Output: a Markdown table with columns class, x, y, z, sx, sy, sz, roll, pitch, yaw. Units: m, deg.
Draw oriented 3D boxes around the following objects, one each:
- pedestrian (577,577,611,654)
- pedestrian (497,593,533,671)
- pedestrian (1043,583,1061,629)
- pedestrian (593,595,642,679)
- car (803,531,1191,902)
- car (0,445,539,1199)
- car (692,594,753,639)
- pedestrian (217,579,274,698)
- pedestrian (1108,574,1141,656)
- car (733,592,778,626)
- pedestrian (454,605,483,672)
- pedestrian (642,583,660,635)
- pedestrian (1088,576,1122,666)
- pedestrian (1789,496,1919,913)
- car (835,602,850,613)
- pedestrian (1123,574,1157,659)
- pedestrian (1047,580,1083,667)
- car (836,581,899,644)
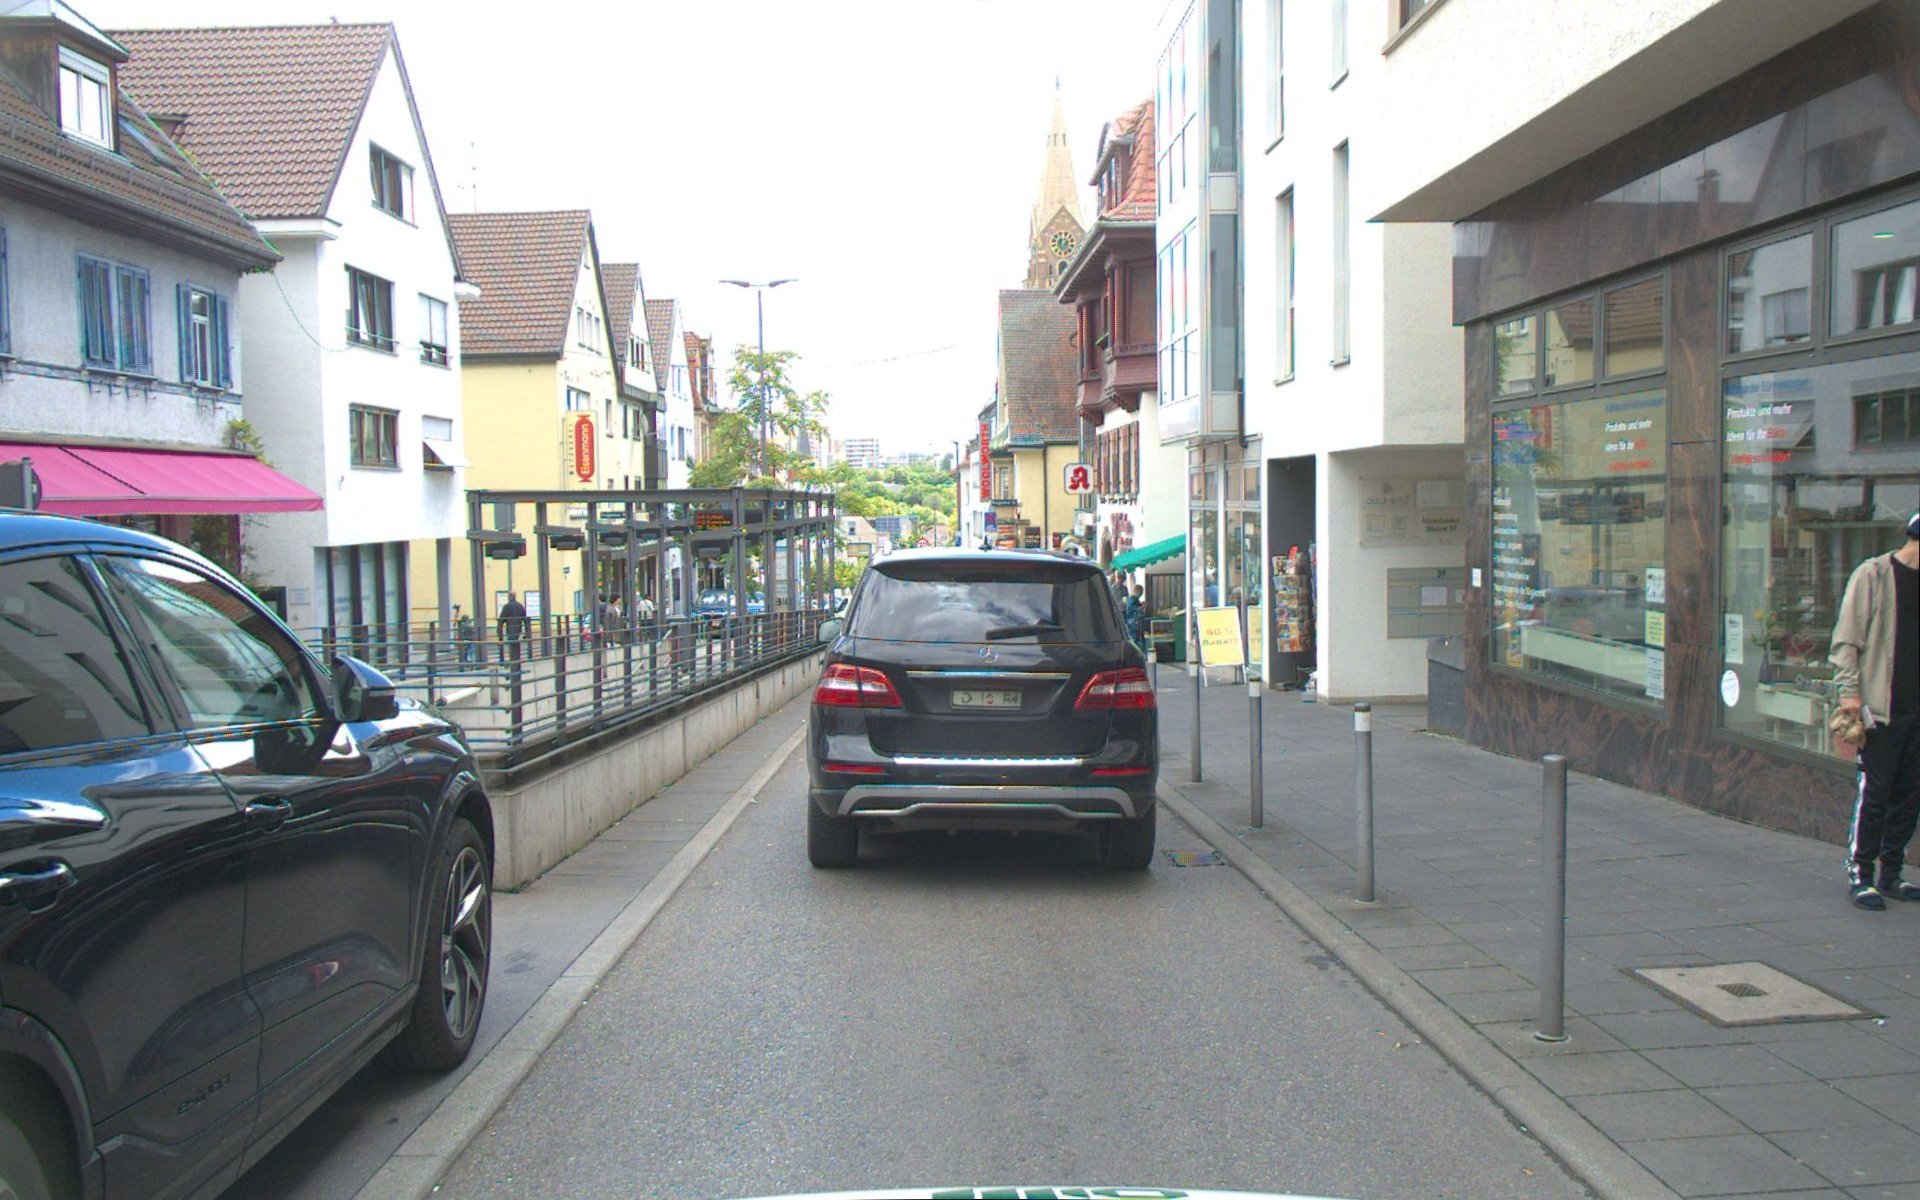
| class | x | y | z | sx | sy | sz | roll | pitch | yaw |
| --- | --- | --- | --- | --- | --- | --- | --- | --- | --- |
| pedestrian | -8.339 | 0.349 | 37.668 | 0.613 | 1.718 | 0.678 | 1 | 0 | -2 |
| pedestrian | -9.979 | 0.712 | 37.105 | 0.599 | 1.718 | 0.563 | 1 | 0 | 2 |
| pedestrian | 3.460 | 0.213 | 62.279 | 0.594 | 1.718 | 0.724 | -1 | 0 | -2 |
| pedestrian | -7.206 | 0.772 | 34.802 | 0.759 | 1.718 | 0.718 | 1 | 0 | -36 |
| car | 0.082 | 0.563 | 10.016 | 1.863 | 1.777 | 3.998 | 1 | 0 | -3 |
| car | -2.295 | 0.610 | 3.357 | 1.917 | 1.668 | 4.312 | 1 | 0 | -2 |
| car | -8.465 | 0.568 | 59.136 | 1.655 | 1.516 | 3.978 | 1 | 0 | -1 |
| pedestrian | -10.527 | 0.562 | 24.388 | 0.566 | 1.718 | 0.576 | 1 | 0 | -2 |
| pedestrian | 3.489 | 0.322 | 35.103 | 0.562 | 1.718 | 0.565 | -1 | 0 | -8 |
| car | -9.411 | 0.409 | 76.356 | 1.627 | 1.516 | 3.747 | 1 | 0 | -1 |
| pedestrian | -10.780 | 0.831 | 36.307 | 0.447 | 1.446 | 0.533 | 1 | 0 | 1 |
| pedestrian | -10.351 | 0.288 | 55.456 | 0.502 | 1.718 | 0.541 | 1 | 0 | -2 |
| pedestrian | 2.874 | 0.418 | 32.810 | 0.532 | 1.756 | 0.527 | -1 | 0 | -8 |
| pedestrian | 4.117 | 0.413 | 7.170 | 0.650 | 1.718 | 0.542 | -4 | 1 | -8 |
| car | -12.234 | 0.753 | 172.637 | 1.360 | 1.089 | 3.112 | -1 | 0 | -1 |
| pedestrian | 3.716 | 0.331 | 34.124 | 0.562 | 1.718 | 0.565 | -1 | 0 | -8 |
| pedestrian | 2.110 | 0.465 | 33.194 | 0.609 | 1.718 | 0.565 | 1 | 0 | -8 |
| car | -2.691 | 0.347 | 49.072 | 1.734 | 1.743 | 3.999 | 1 | 0 | -2 |
